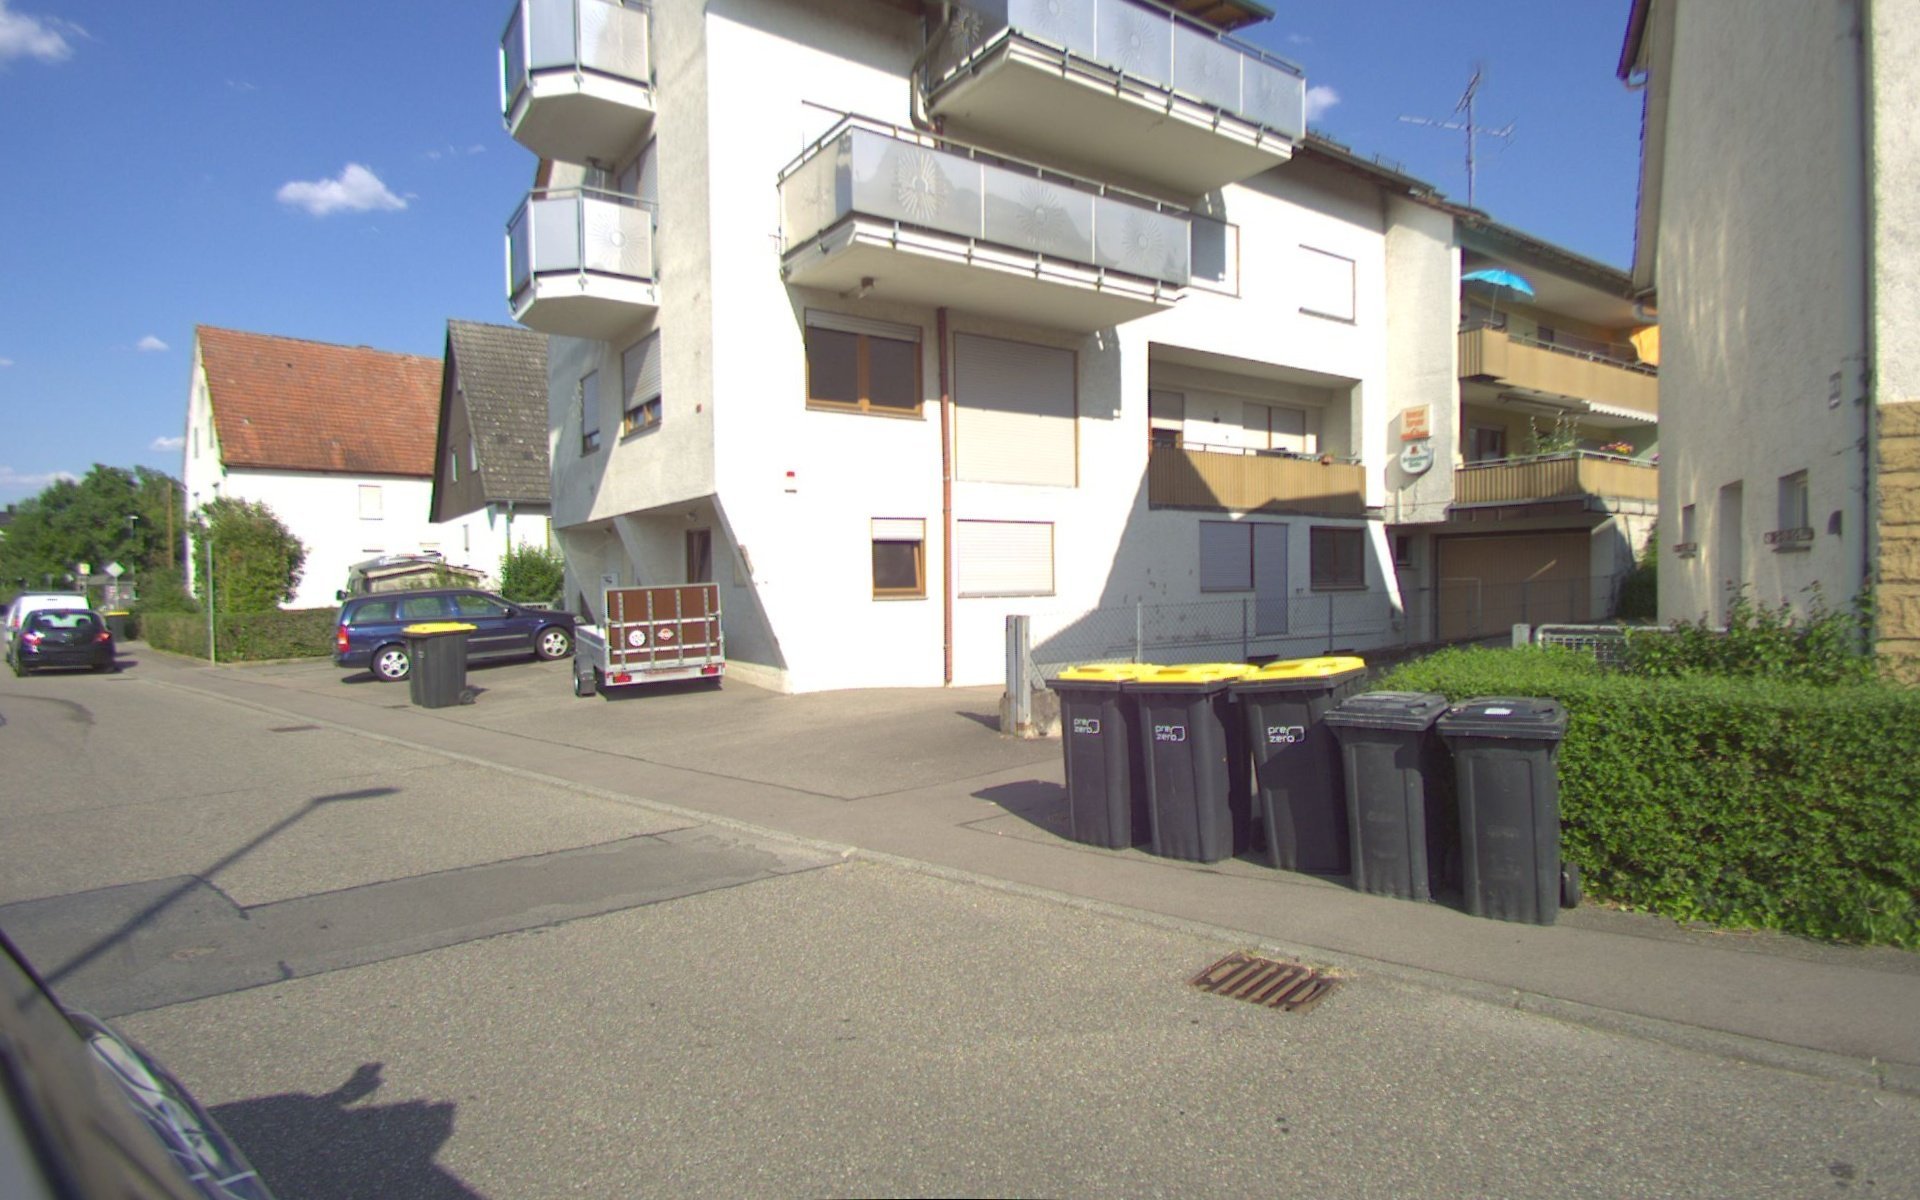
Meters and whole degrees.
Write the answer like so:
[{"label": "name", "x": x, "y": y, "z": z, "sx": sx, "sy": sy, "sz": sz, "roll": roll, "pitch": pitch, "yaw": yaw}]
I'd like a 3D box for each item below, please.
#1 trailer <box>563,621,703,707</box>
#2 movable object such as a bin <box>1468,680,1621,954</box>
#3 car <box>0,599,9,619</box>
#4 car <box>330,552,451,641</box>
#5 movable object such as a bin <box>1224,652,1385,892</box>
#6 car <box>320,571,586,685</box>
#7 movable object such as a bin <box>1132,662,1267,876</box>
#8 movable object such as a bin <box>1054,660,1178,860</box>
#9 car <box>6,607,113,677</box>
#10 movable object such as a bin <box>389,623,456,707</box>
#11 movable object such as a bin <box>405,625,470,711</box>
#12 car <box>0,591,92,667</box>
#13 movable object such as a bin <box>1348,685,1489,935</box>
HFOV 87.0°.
[{"label": "trailer", "x": -4.746, "y": 0.845, "z": 14.506, "sx": 1.311, "sy": 0.861, "sz": 2.901, "roll": -3, "pitch": 4, "yaw": -30}, {"label": "movable object such as a bin", "x": 2.495, "y": 0.876, "z": 4.316, "sx": 0.457, "sy": 1.030, "sz": 0.525, "roll": -1, "pitch": -2, "yaw": 43}, {"label": "car", "x": -69.520, "y": 0.652, "z": 70.260, "sx": 1.759, "sy": 1.442, "sz": 4.809, "roll": 0, "pitch": 0, "yaw": 22}, {"label": "car", "x": -18.605, "y": -0.104, "z": 32.890, "sx": 2.132, "sy": 2.615, "sz": 6.102, "roll": -2, "pitch": 1, "yaw": -42}, {"label": "movable object such as a bin", "x": 1.814, "y": 0.854, "z": 5.332, "sx": 0.617, "sy": 1.130, "sz": 0.581, "roll": -1, "pitch": -2, "yaw": 43}, {"label": "car", "x": -9.037, "y": 0.426, "z": 18.141, "sx": 3.935, "sy": 1.549, "sz": 1.767, "roll": -6, "pitch": 3, "yaw": -35}, {"label": "movable object such as a bin", "x": 1.356, "y": 0.916, "z": 5.733, "sx": 0.530, "sy": 1.092, "sz": 0.581, "roll": -1, "pitch": -2, "yaw": 43}, {"label": "movable object such as a bin", "x": 0.942, "y": 0.925, "z": 6.105, "sx": 0.508, "sy": 1.092, "sz": 0.581, "roll": -1, "pitch": -2, "yaw": 43}, {"label": "car", "x": -20.746, "y": 0.910, "z": 23.261, "sx": 1.653, "sy": 1.462, "sz": 3.837, "roll": 0, "pitch": -1, "yaw": -44}, {"label": "movable object such as a bin", "x": -7.402, "y": 0.878, "z": 13.930, "sx": 0.619, "sy": 1.079, "sz": 0.593, "roll": -1, "pitch": 3, "yaw": 43}, {"label": "movable object such as a bin", "x": -6.961, "y": 0.890, "z": 13.484, "sx": 0.557, "sy": 1.079, "sz": 0.564, "roll": -1, "pitch": 3, "yaw": 43}, {"label": "car", "x": -24.628, "y": 0.751, "z": 27.155, "sx": 4.194, "sy": 1.887, "sz": 1.697, "roll": -1, "pitch": -1, "yaw": 45}, {"label": "movable object such as a bin", "x": 2.136, "y": 0.932, "z": 4.710, "sx": 0.457, "sy": 1.030, "sz": 0.525, "roll": -1, "pitch": -2, "yaw": 43}]
